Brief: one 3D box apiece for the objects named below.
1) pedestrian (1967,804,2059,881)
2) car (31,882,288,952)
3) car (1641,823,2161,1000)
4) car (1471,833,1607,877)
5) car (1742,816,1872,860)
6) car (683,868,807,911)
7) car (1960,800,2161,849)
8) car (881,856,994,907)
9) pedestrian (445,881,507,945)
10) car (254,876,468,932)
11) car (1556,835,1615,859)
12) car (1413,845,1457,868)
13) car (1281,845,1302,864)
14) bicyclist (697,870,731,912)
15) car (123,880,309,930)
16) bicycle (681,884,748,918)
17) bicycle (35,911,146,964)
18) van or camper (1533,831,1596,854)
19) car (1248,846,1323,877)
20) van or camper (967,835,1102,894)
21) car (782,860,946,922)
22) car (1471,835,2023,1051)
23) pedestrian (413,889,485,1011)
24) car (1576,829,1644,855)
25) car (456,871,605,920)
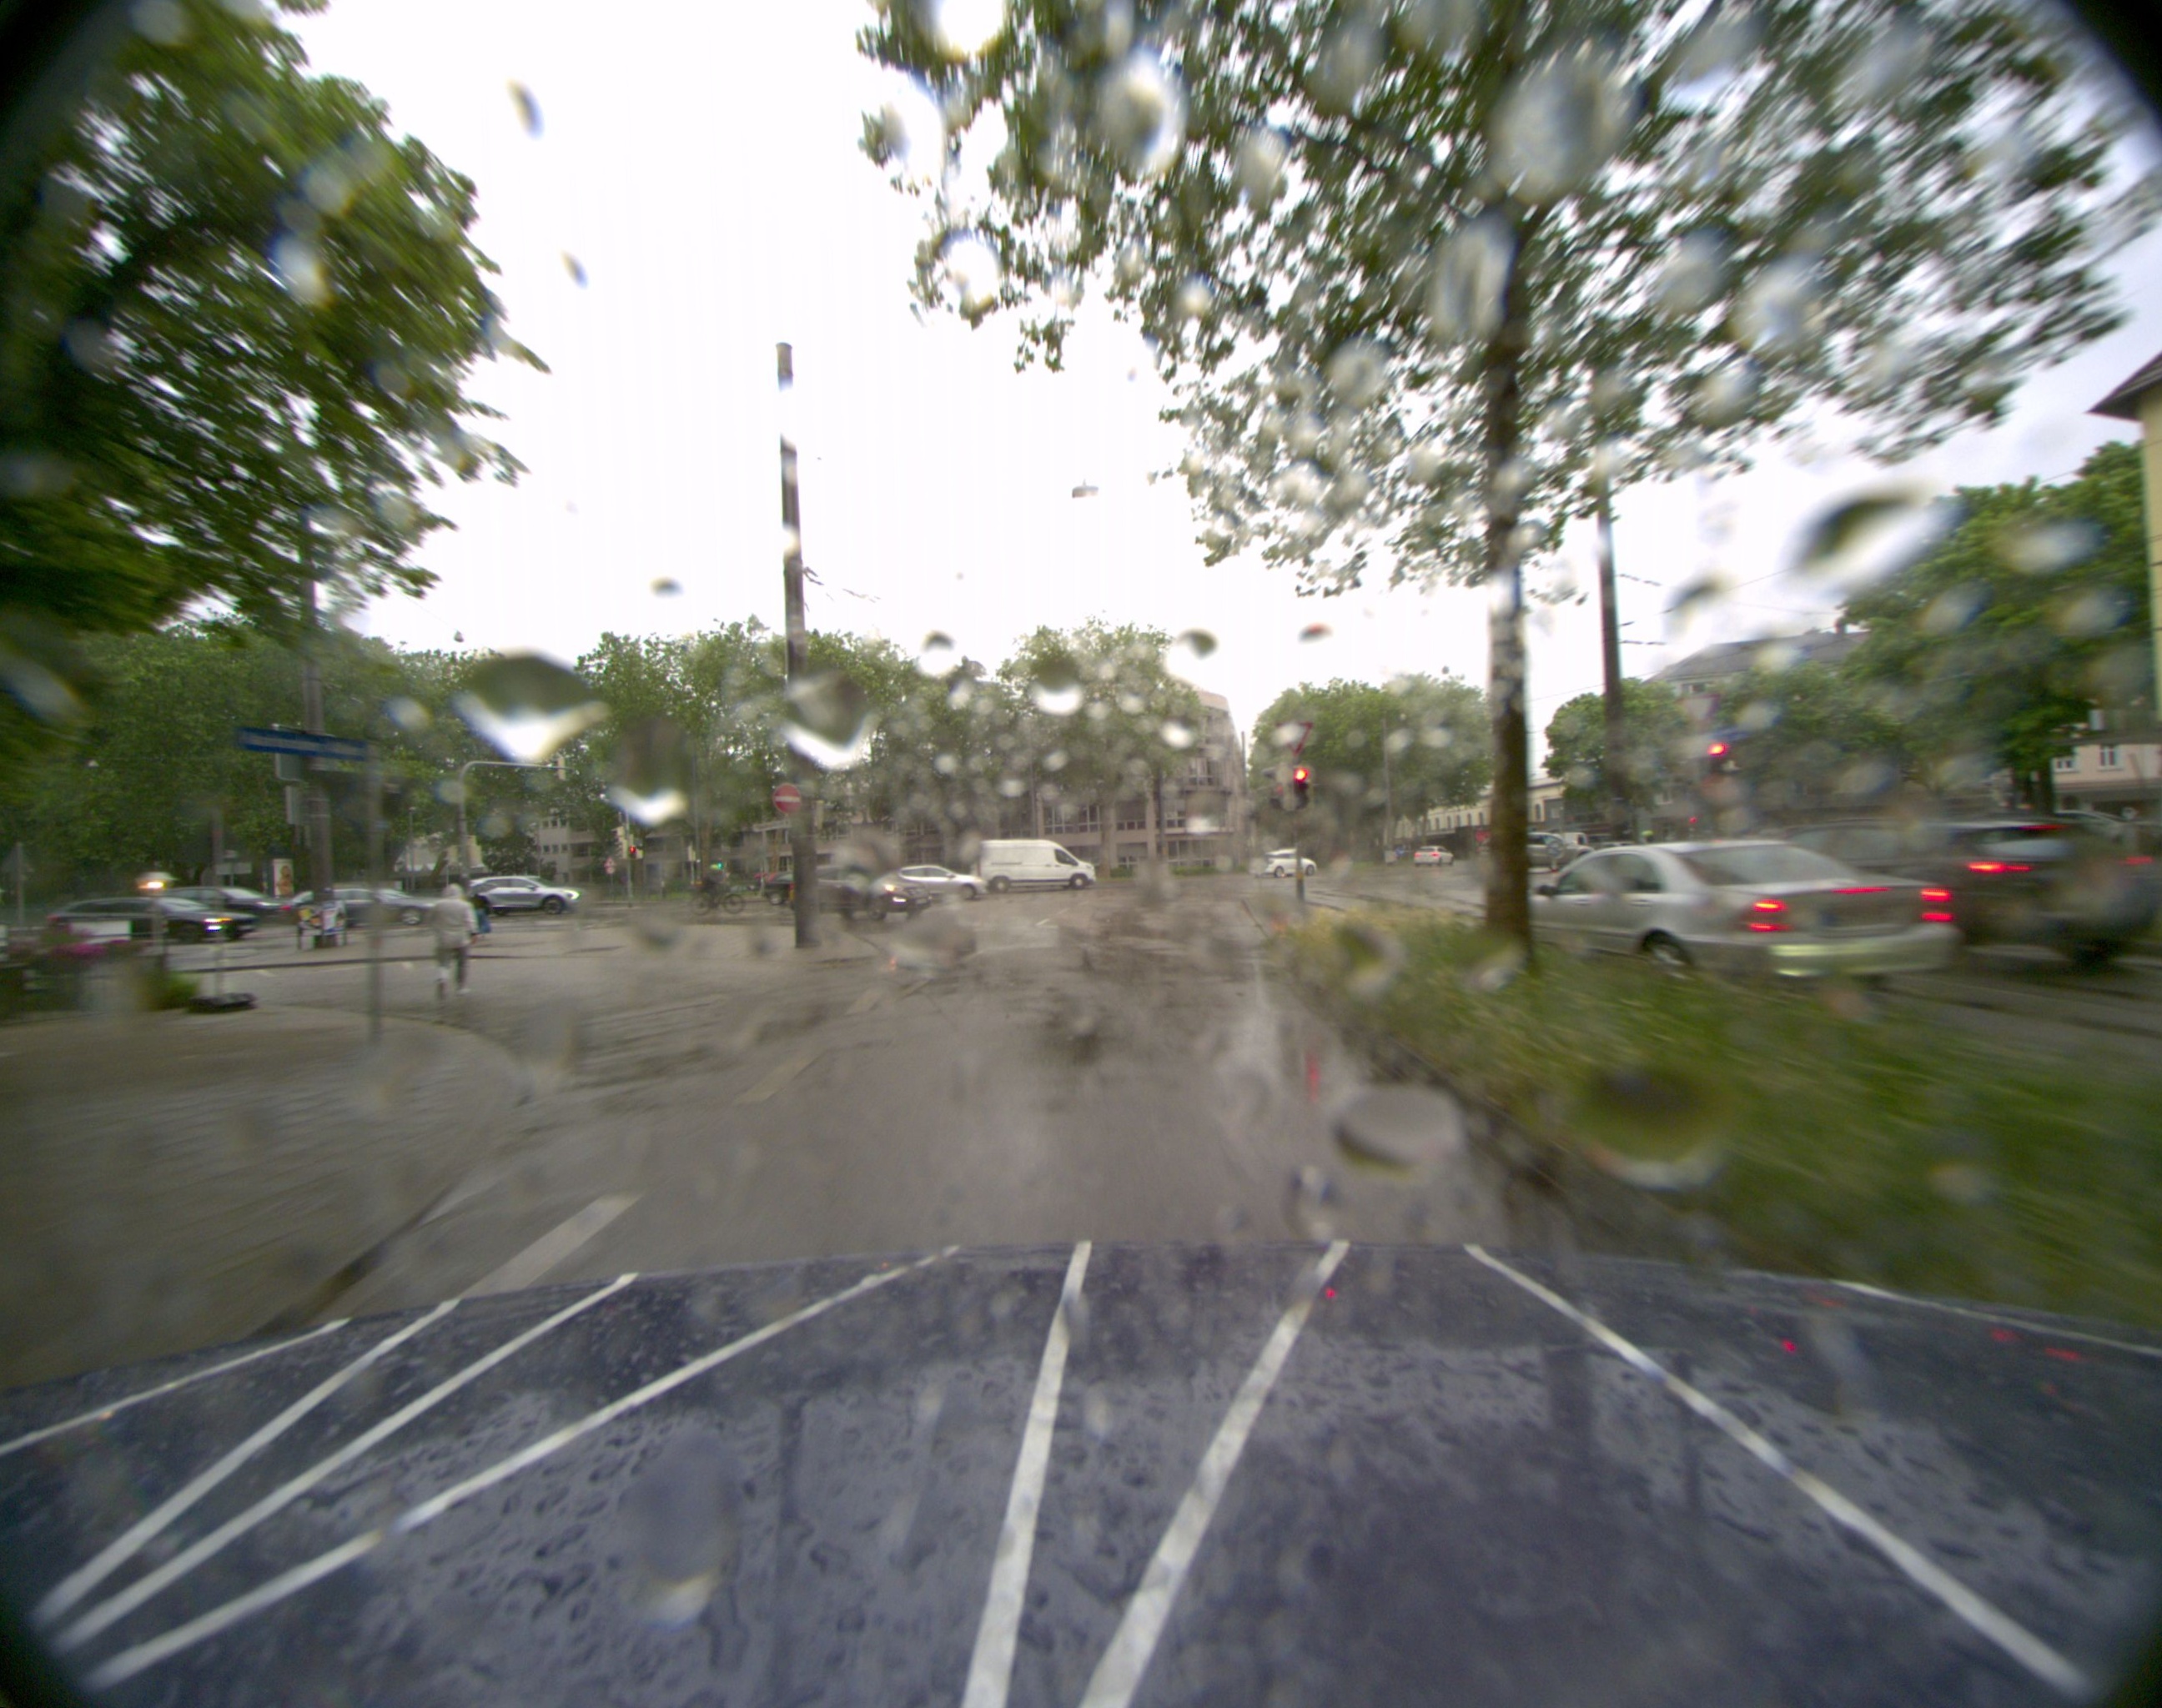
[{"bbox_3d":[21.377,-0.252,17.445,1.015,1.667,0.815,-2,0,15],"label":"pedestrian"},{"bbox_3d":[-28.103,1.875,23.384,4.694,1.678,1.976,-3,1,-13],"label":"car"},{"bbox_3d":[9.175,0.526,8.918,1.878,1.493,4.283,-3,0,-2],"label":"car"},{"bbox_3d":[19.555,0.032,32.562,4.678,1.637,1.913,-3,1,-3],"label":"car"},{"bbox_3d":[32.543,-0.717,34.121,4.188,1.700,1.807,-3,1,-3],"label":"car"},{"bbox_3d":[-14.361,1.483,32.730,4.557,1.504,1.785,-3,1,-12],"label":"car"},{"bbox_3d":[36.264,-1.054,27.774,2.001,1.465,4.982,-3,-1,-19],"label":"car"},{"bbox_3d":[-5.773,1.052,30.557,4.268,1.731,1.974,-3,1,-13],"label":"car"},{"bbox_3d":[-17.008,1.637,21.369,0.995,1.657,1.108,-2,2,41],"label":"pedestrian"},{"bbox_3d":[-25.702,1.739,27.331,5.336,1.583,1.947,-3,0,-10],"label":"car"},{"bbox_3d":[46.650,-0.666,70.322,3.995,2.002,2.001,-3,0,5],"label":"car"},{"bbox_3d":[25.711,0.170,55.134,1.808,1.527,4.199,-3,0,40],"label":"car"},{"bbox_3d":[21.439,0.042,77.490,2.001,1.761,4.004,-2,0,15],"label":"car"},{"bbox_3d":[-13.354,1.341,27.659,0.805,1.462,0.927,-1,2,-7],"label":"bicyclist"},{"bbox_3d":[-33.156,1.924,29.272,4.480,1.504,1.785,-3,1,-12],"label":"car"},{"bbox_3d":[-13.308,1.711,27.624,1.998,1.082,0.818,-2,2,-9],"label":"bicycle"},{"bbox_3d":[-25.377,2.132,19.484,1.793,1.162,0.423,-3,3,-13],"label":"bicycle"},{"bbox_3d":[46.557,-1.080,73.249,4.647,2.063,2.002,-1,1,12],"label":"van or camper"},{"bbox_3d":[11.804,0.431,43.736,4.079,1.578,1.803,-3,0,-32],"label":"car"},{"bbox_3d":[-2.227,0.455,36.202,5.975,2.456,2.179,-3,1,-19],"label":"van or camper"},{"bbox_3d":[-6.642,1.126,23.160,4.668,1.637,1.917,-2,1,27],"label":"car"},{"bbox_3d":[5.964,0.666,7.749,1.739,1.480,4.501,-3,0,2],"label":"car"},{"bbox_3d":[-9.771,1.446,11.784,0.567,1.762,1.203,0,-3,-27],"label":"pedestrian"},{"bbox_3d":[45.321,-1.024,65.195,4.388,2.002,2.070,-2,1,19],"label":"car"},{"bbox_3d":[-22.544,1.657,31.292,4.557,1.650,1.785,-3,1,-12],"label":"car"}]
